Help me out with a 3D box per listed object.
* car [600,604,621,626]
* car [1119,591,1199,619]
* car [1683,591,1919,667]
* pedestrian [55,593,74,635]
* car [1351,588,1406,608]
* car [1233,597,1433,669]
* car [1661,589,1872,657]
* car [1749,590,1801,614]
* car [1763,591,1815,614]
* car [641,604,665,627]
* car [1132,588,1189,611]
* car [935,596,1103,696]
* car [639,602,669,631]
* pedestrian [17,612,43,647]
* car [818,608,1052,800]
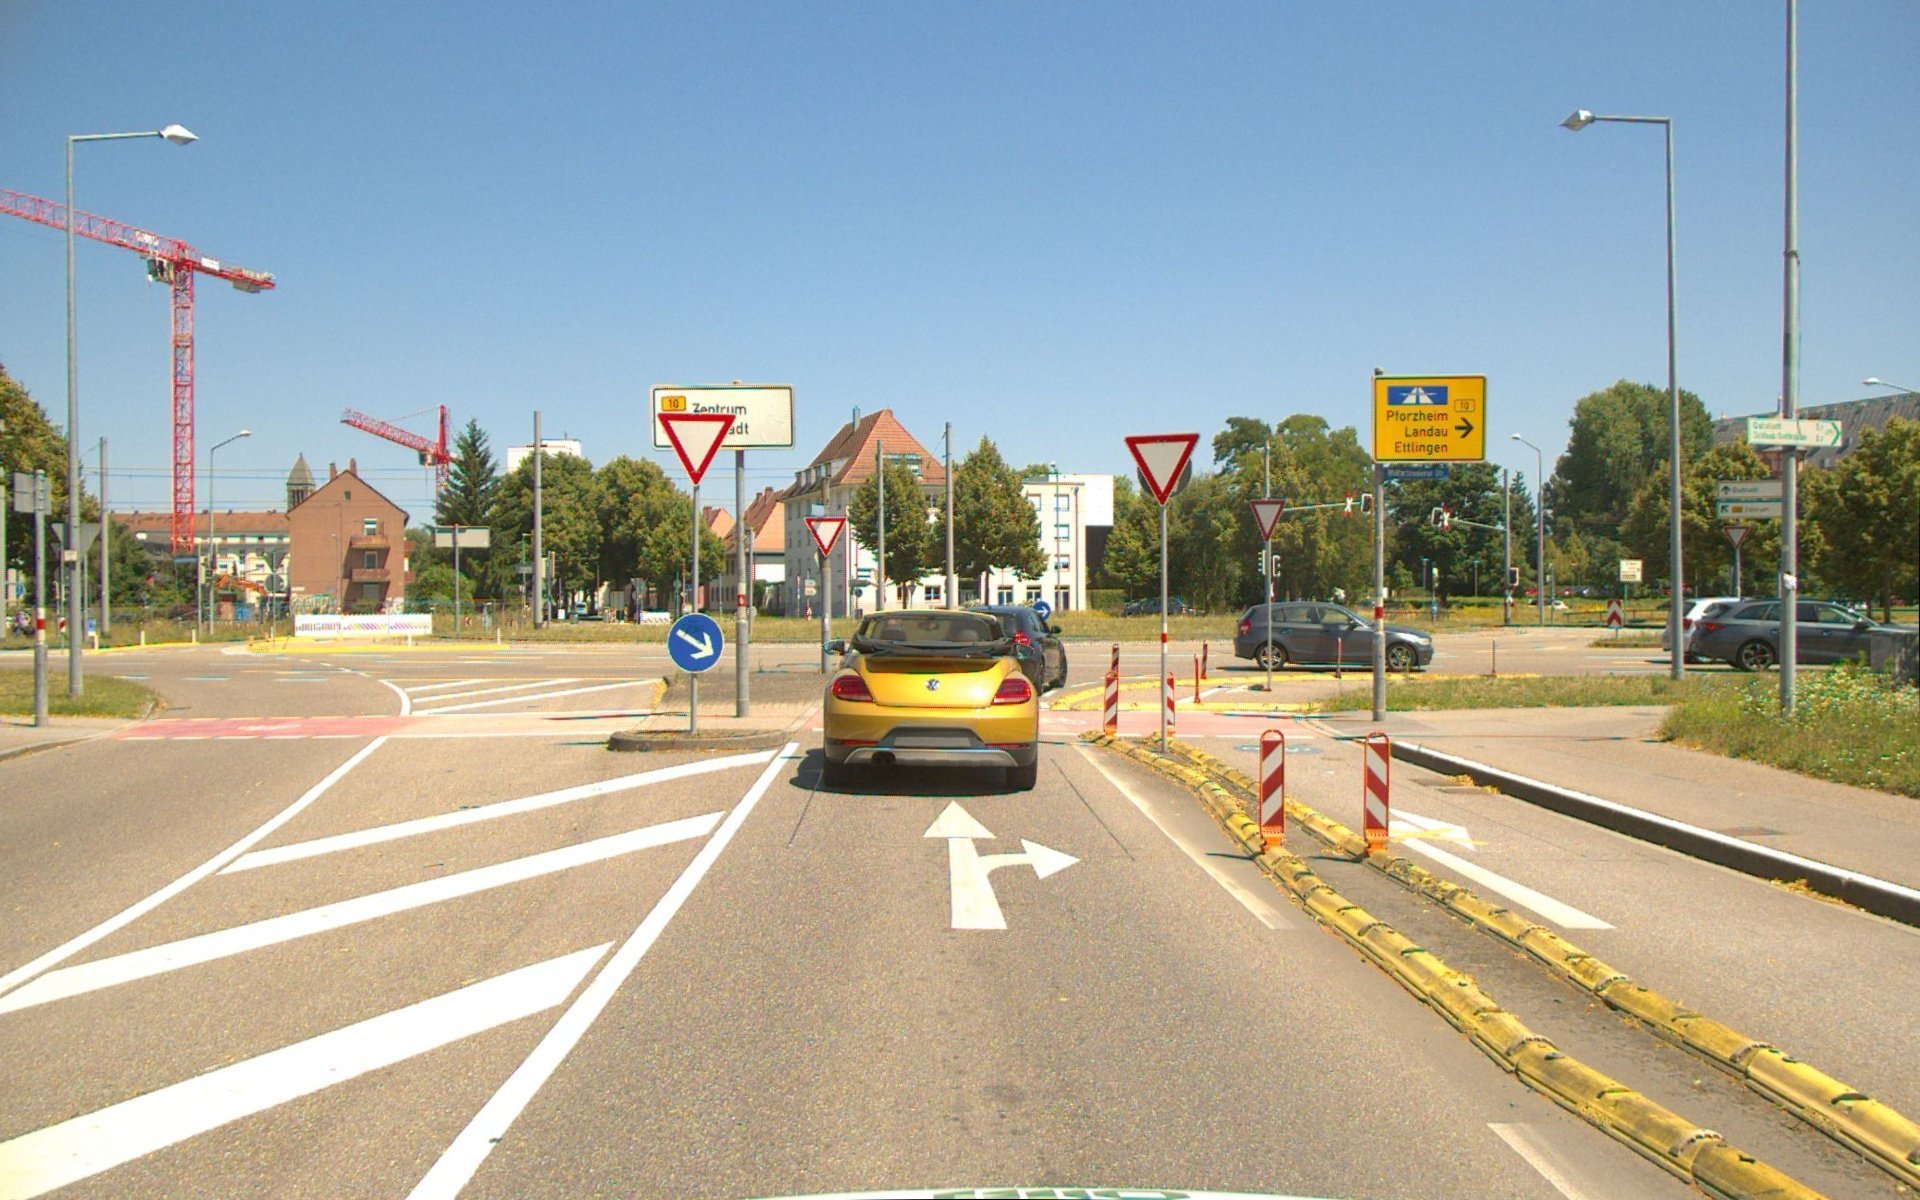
[{"bbox_3d":[-34.152,1.450,161.531,1.959,2.049,3.986,1,-1,-13],"label":"car"},{"bbox_3d":[10.870,0.282,90.229,3.909,1.490,1.998,1,-1,26],"label":"car"},{"bbox_3d":[17.062,0.574,33.330,4.347,1.443,2.001,-1,0,17],"label":"car"},{"bbox_3d":[-44.415,0.682,82.018,0.589,2.049,0.594,1,-1,-1],"label":"pedestrian"},{"bbox_3d":[34.160,-0.147,135.157,3.919,1.601,1.993,0,-1,35],"label":"car"},{"bbox_3d":[7.783,0.684,34.756,3.980,1.427,1.755,-1,1,10],"label":"car"},{"bbox_3d":[17.980,0.506,37.041,3.901,1.447,1.784,-1,0,11],"label":"car"},{"bbox_3d":[74.444,0.175,151.110,3.923,2.049,1.991,0,-1,38],"label":"car"},{"bbox_3d":[76.466,0.225,152.588,3.923,2.049,1.991,0,-1,38],"label":"car"},{"bbox_3d":[-28.758,1.464,154.738,1.959,2.049,3.986,1,-1,-13],"label":"car"},{"bbox_3d":[15.453,-0.053,127.739,3.918,1.713,1.993,1,-1,-13],"label":"car"},{"bbox_3d":[1.068,0.696,27.485,1.759,1.465,4.002,0,1,18],"label":"car"},{"bbox_3d":[-22.464,1.216,121.399,1.959,2.049,3.986,1,-1,-13],"label":"car"},{"bbox_3d":[-45.506,1.452,80.913,0.762,1.668,0.761,1,-1,12],"label":"pedestrian"},{"bbox_3d":[-0.218,0.809,14.530,1.788,1.427,3.661,0,0,-1],"label":"car"}]
